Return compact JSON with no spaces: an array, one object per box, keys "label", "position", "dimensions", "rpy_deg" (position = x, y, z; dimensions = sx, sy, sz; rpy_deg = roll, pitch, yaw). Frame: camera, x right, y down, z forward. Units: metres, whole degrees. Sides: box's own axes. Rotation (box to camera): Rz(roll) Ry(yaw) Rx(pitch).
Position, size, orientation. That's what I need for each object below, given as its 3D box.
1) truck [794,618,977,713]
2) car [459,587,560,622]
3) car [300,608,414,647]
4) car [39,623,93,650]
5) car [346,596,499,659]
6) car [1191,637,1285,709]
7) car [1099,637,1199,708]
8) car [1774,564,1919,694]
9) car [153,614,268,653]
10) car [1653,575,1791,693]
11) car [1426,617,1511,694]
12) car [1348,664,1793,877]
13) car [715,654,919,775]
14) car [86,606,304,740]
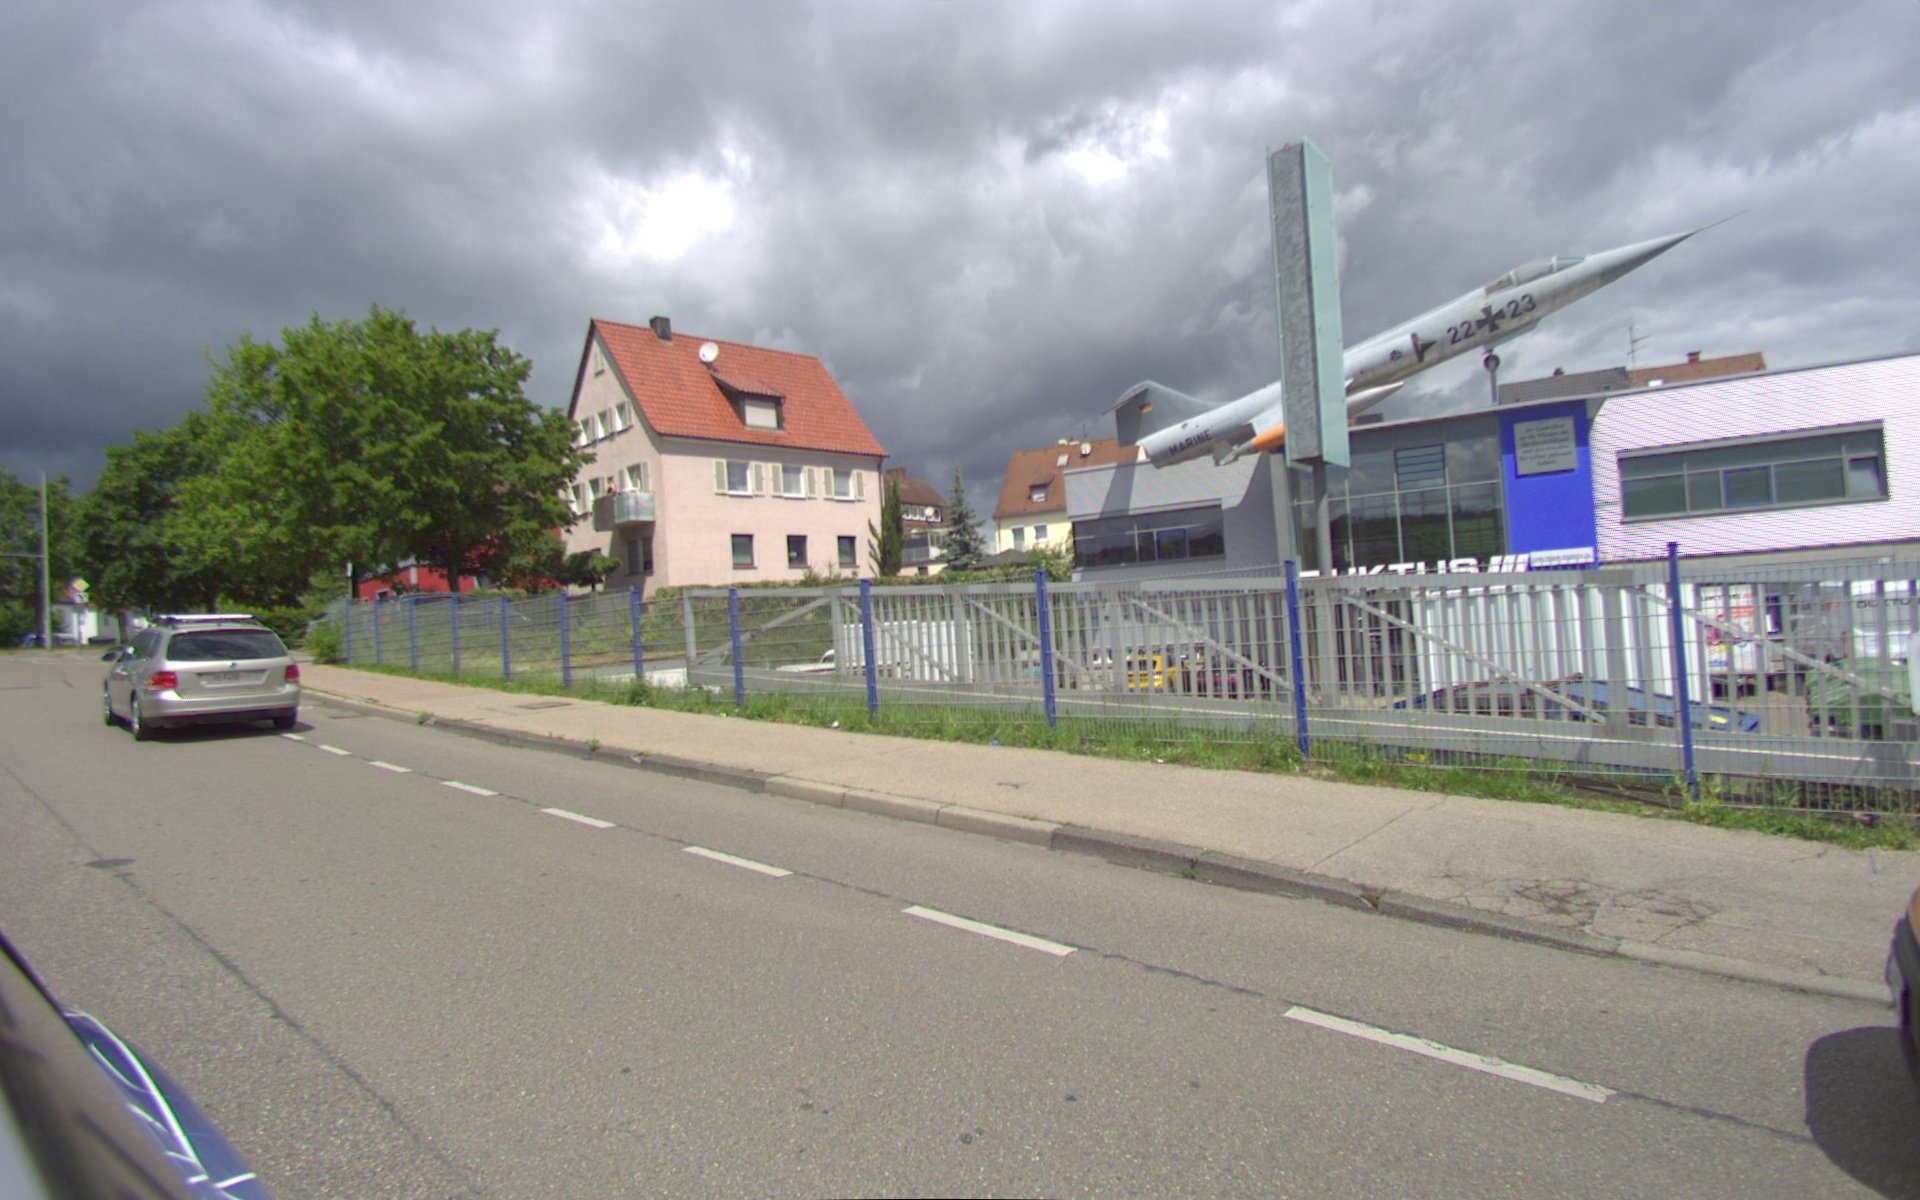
[{"label":"truck","position":[-2.584,1.995,33.244],"dimensions":[2.289,2.752,6.598],"rpy_deg":[-1,0,-44]},{"label":"car","position":[-20.866,0.188,46.931],"dimensions":[3.961,1.517,1.587],"rpy_deg":[-1,0,-44]},{"label":"car","position":[-25.219,1.122,42.394],"dimensions":[1.586,1.517,3.805],"rpy_deg":[-1,0,43]},{"label":"car","position":[-72.740,2.920,82.412],"dimensions":[1.928,1.984,5.148],"rpy_deg":[-1,0,-25]},{"label":"car","position":[-16.534,0.799,31.280],"dimensions":[1.522,1.789,3.905],"rpy_deg":[-1,0,39]},{"label":"car","position":[8.832,2.236,31.870],"dimensions":[1.850,1.790,4.579],"rpy_deg":[-6,-2,27]},{"label":"car","position":[6.288,2.331,33.282],"dimensions":[1.917,1.712,4.580],"rpy_deg":[-6,0,27]},{"label":"car","position":[20.845,0.575,23.238],"dimensions":[1.980,2.620,4.585],"rpy_deg":[-6,-2,23]},{"label":"car","position":[-32.282,1.416,43.662],"dimensions":[3.802,1.517,1.587],"rpy_deg":[-1,0,-44]},{"label":"car","position":[19.051,0.775,25.528],"dimensions":[1.984,2.620,4.684],"rpy_deg":[-6,-2,30]},{"label":"car","position":[14.483,1.533,28.865],"dimensions":[1.850,1.790,4.579],"rpy_deg":[-6,-2,27]},{"label":"car","position":[5.629,1.434,9.577],"dimensions":[3.363,1.470,1.415],"rpy_deg":[-1,0,44]},{"label":"car","position":[-2.911,2.277,21.179],"dimensions":[1.851,2.029,3.944],"rpy_deg":[-1,0,42]},{"label":"car","position":[-10.549,0.887,13.837],"dimensions":[4.221,1.544,1.625],"rpy_deg":[-1,0,42]}]
